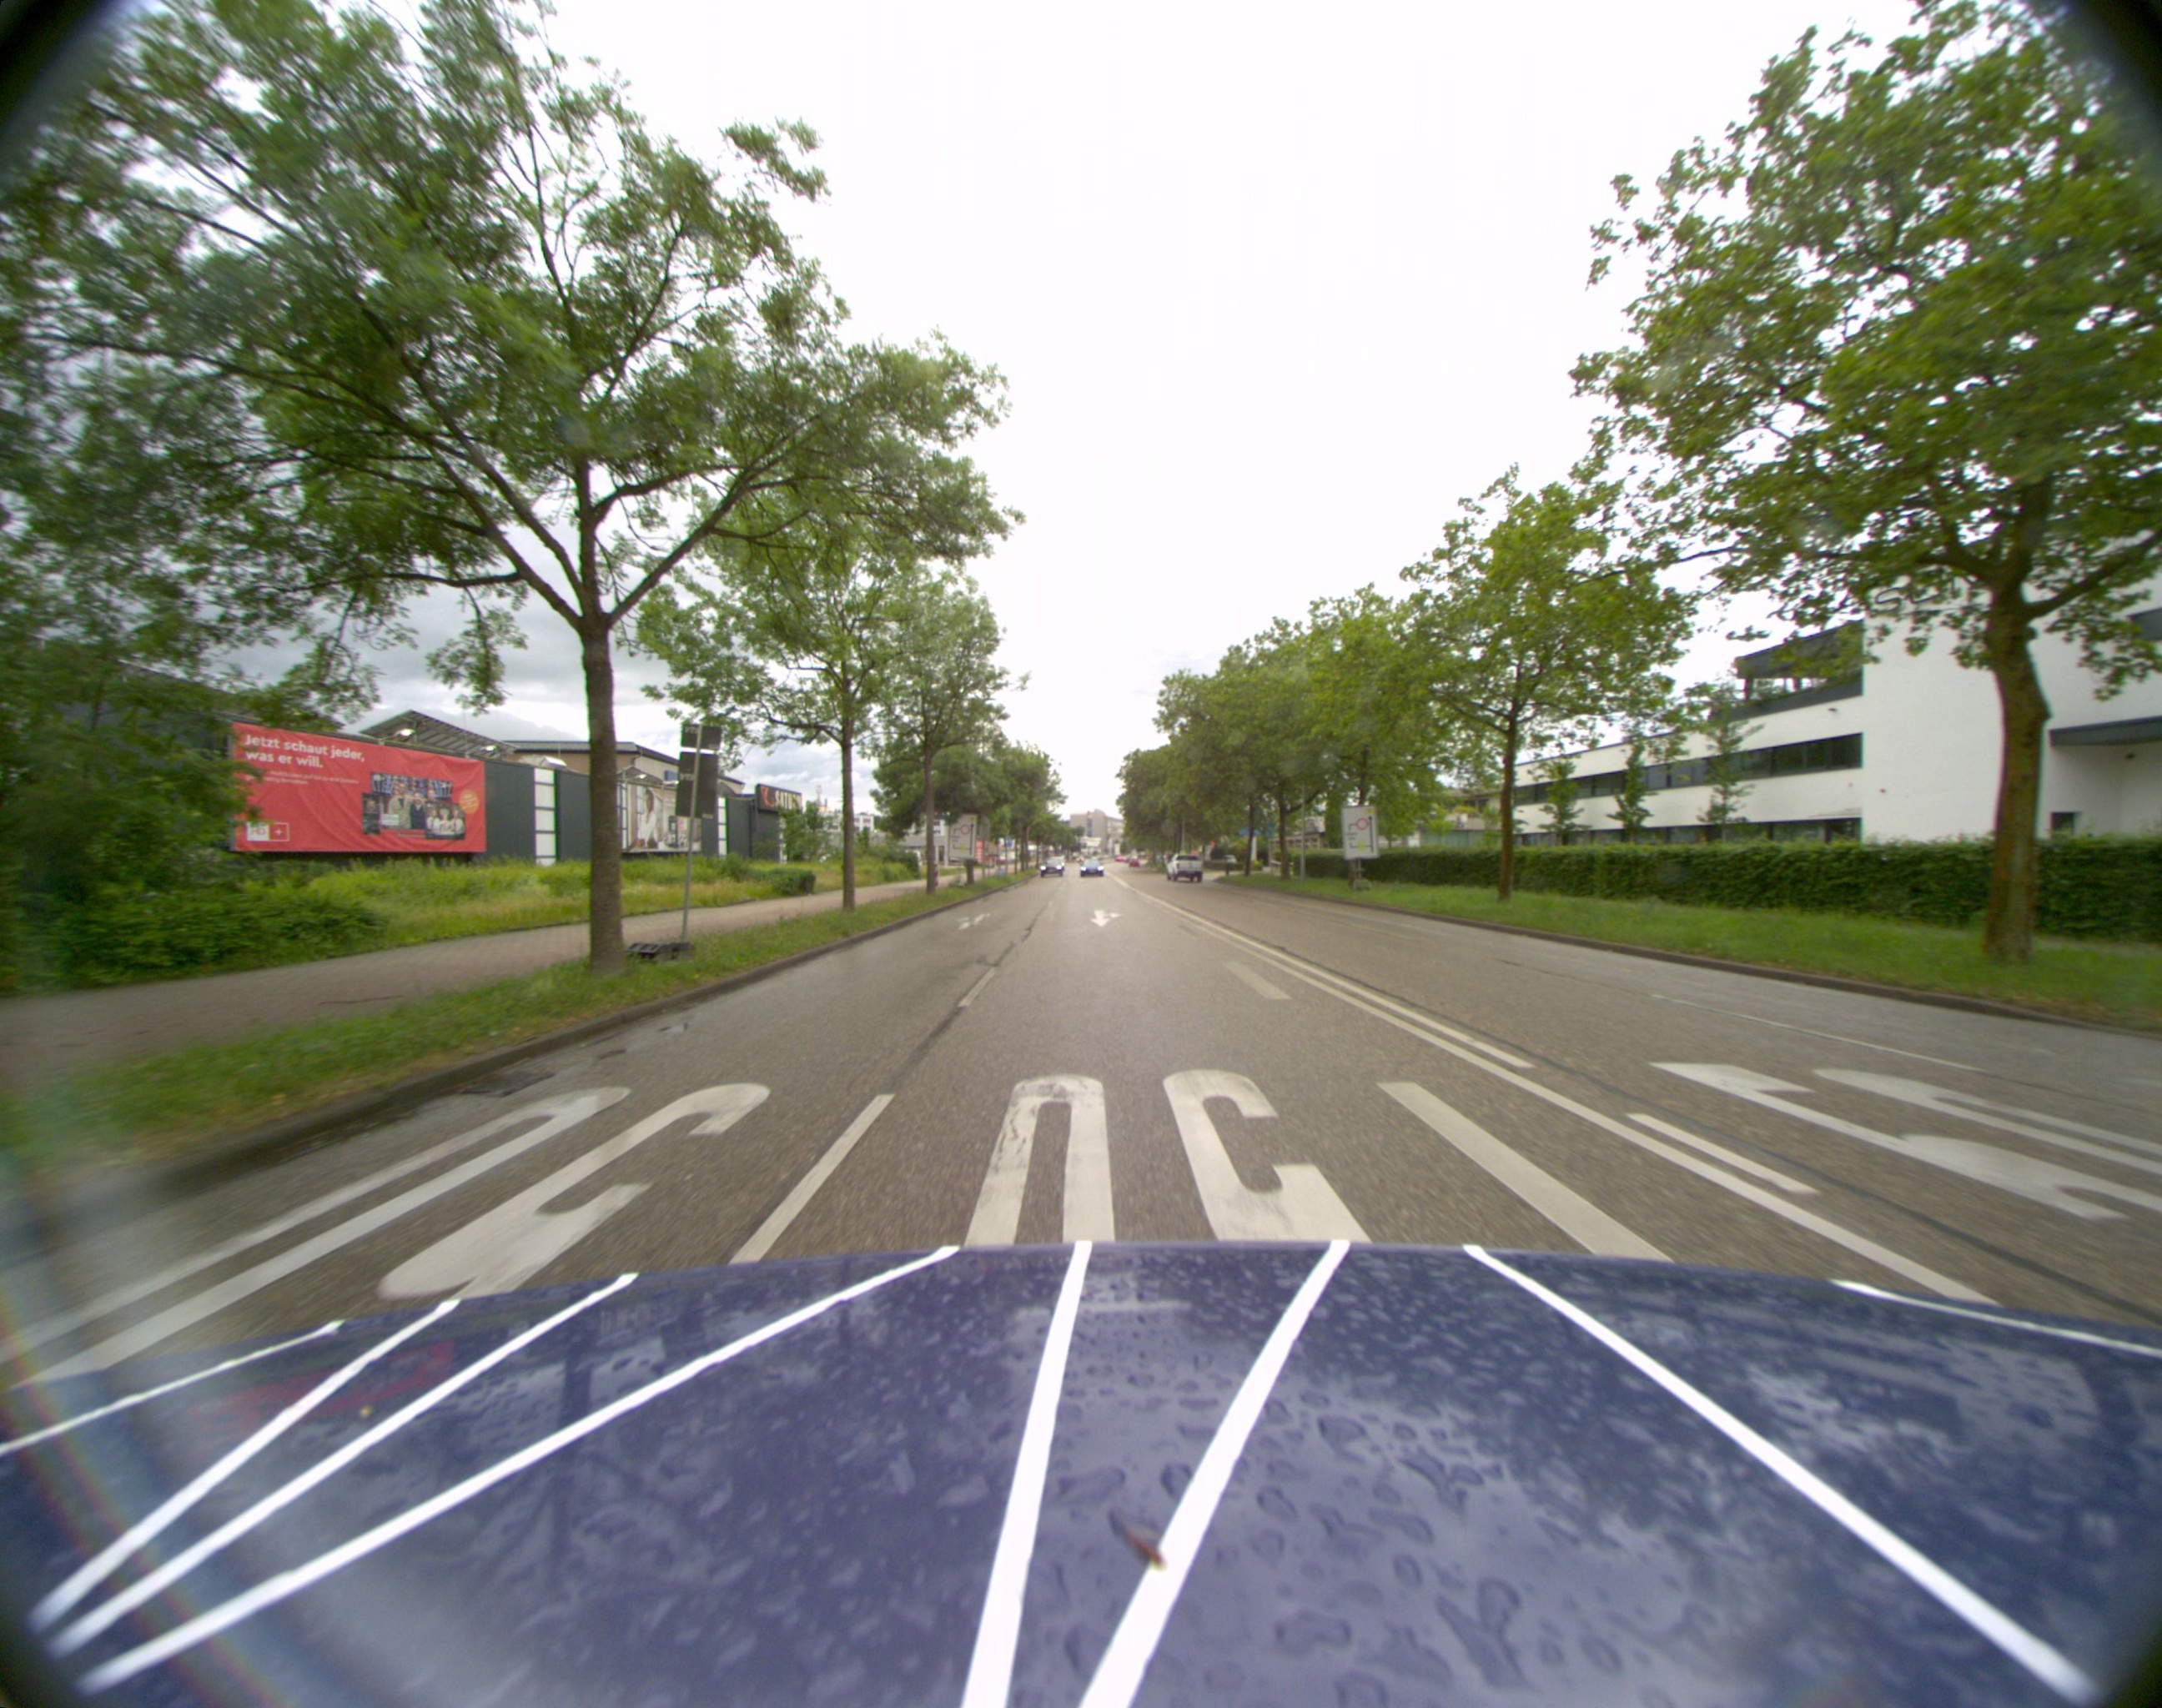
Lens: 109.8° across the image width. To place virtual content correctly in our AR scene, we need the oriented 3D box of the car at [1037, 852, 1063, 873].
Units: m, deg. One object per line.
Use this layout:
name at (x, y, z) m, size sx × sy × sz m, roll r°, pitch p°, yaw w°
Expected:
car at (-2.671, 0.700, 66.295) m, size 1.998 × 1.632 × 4.360 m, roll -2°, pitch 1°, yaw 1°

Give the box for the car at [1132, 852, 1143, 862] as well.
car at (9.300, 0.552, 125.101) m, size 1.745 × 1.524 × 4.001 m, roll 2°, pitch 1°, yaw 4°

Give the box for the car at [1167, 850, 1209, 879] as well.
car at (7.073, 0.651, 50.669) m, size 1.916 × 1.795 × 5.340 m, roll 1°, pitch 0°, yaw -1°

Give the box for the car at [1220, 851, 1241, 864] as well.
car at (18.208, 0.428, 92.746) m, size 1.746 × 1.524 × 4.000 m, roll 2°, pitch 1°, yaw 1°

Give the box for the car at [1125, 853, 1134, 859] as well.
car at (12.364, 0.465, 193.476) m, size 1.998 × 1.632 × 4.360 m, roll 0°, pitch 0°, yaw 1°

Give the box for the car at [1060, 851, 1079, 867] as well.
car at (-1.337, 0.561, 89.479) m, size 1.998 × 1.632 × 4.360 m, roll -2°, pitch 1°, yaw 1°

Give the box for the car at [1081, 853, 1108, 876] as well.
car at (1.070, 0.816, 60.965) m, size 1.998 × 1.632 × 4.360 m, roll -2°, pitch 1°, yaw 1°

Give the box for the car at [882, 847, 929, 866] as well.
car at (-19.364, 0.278, 83.996) m, size 4.966 × 2.002 × 1.998 m, roll 1°, pitch 0°, yaw -11°
